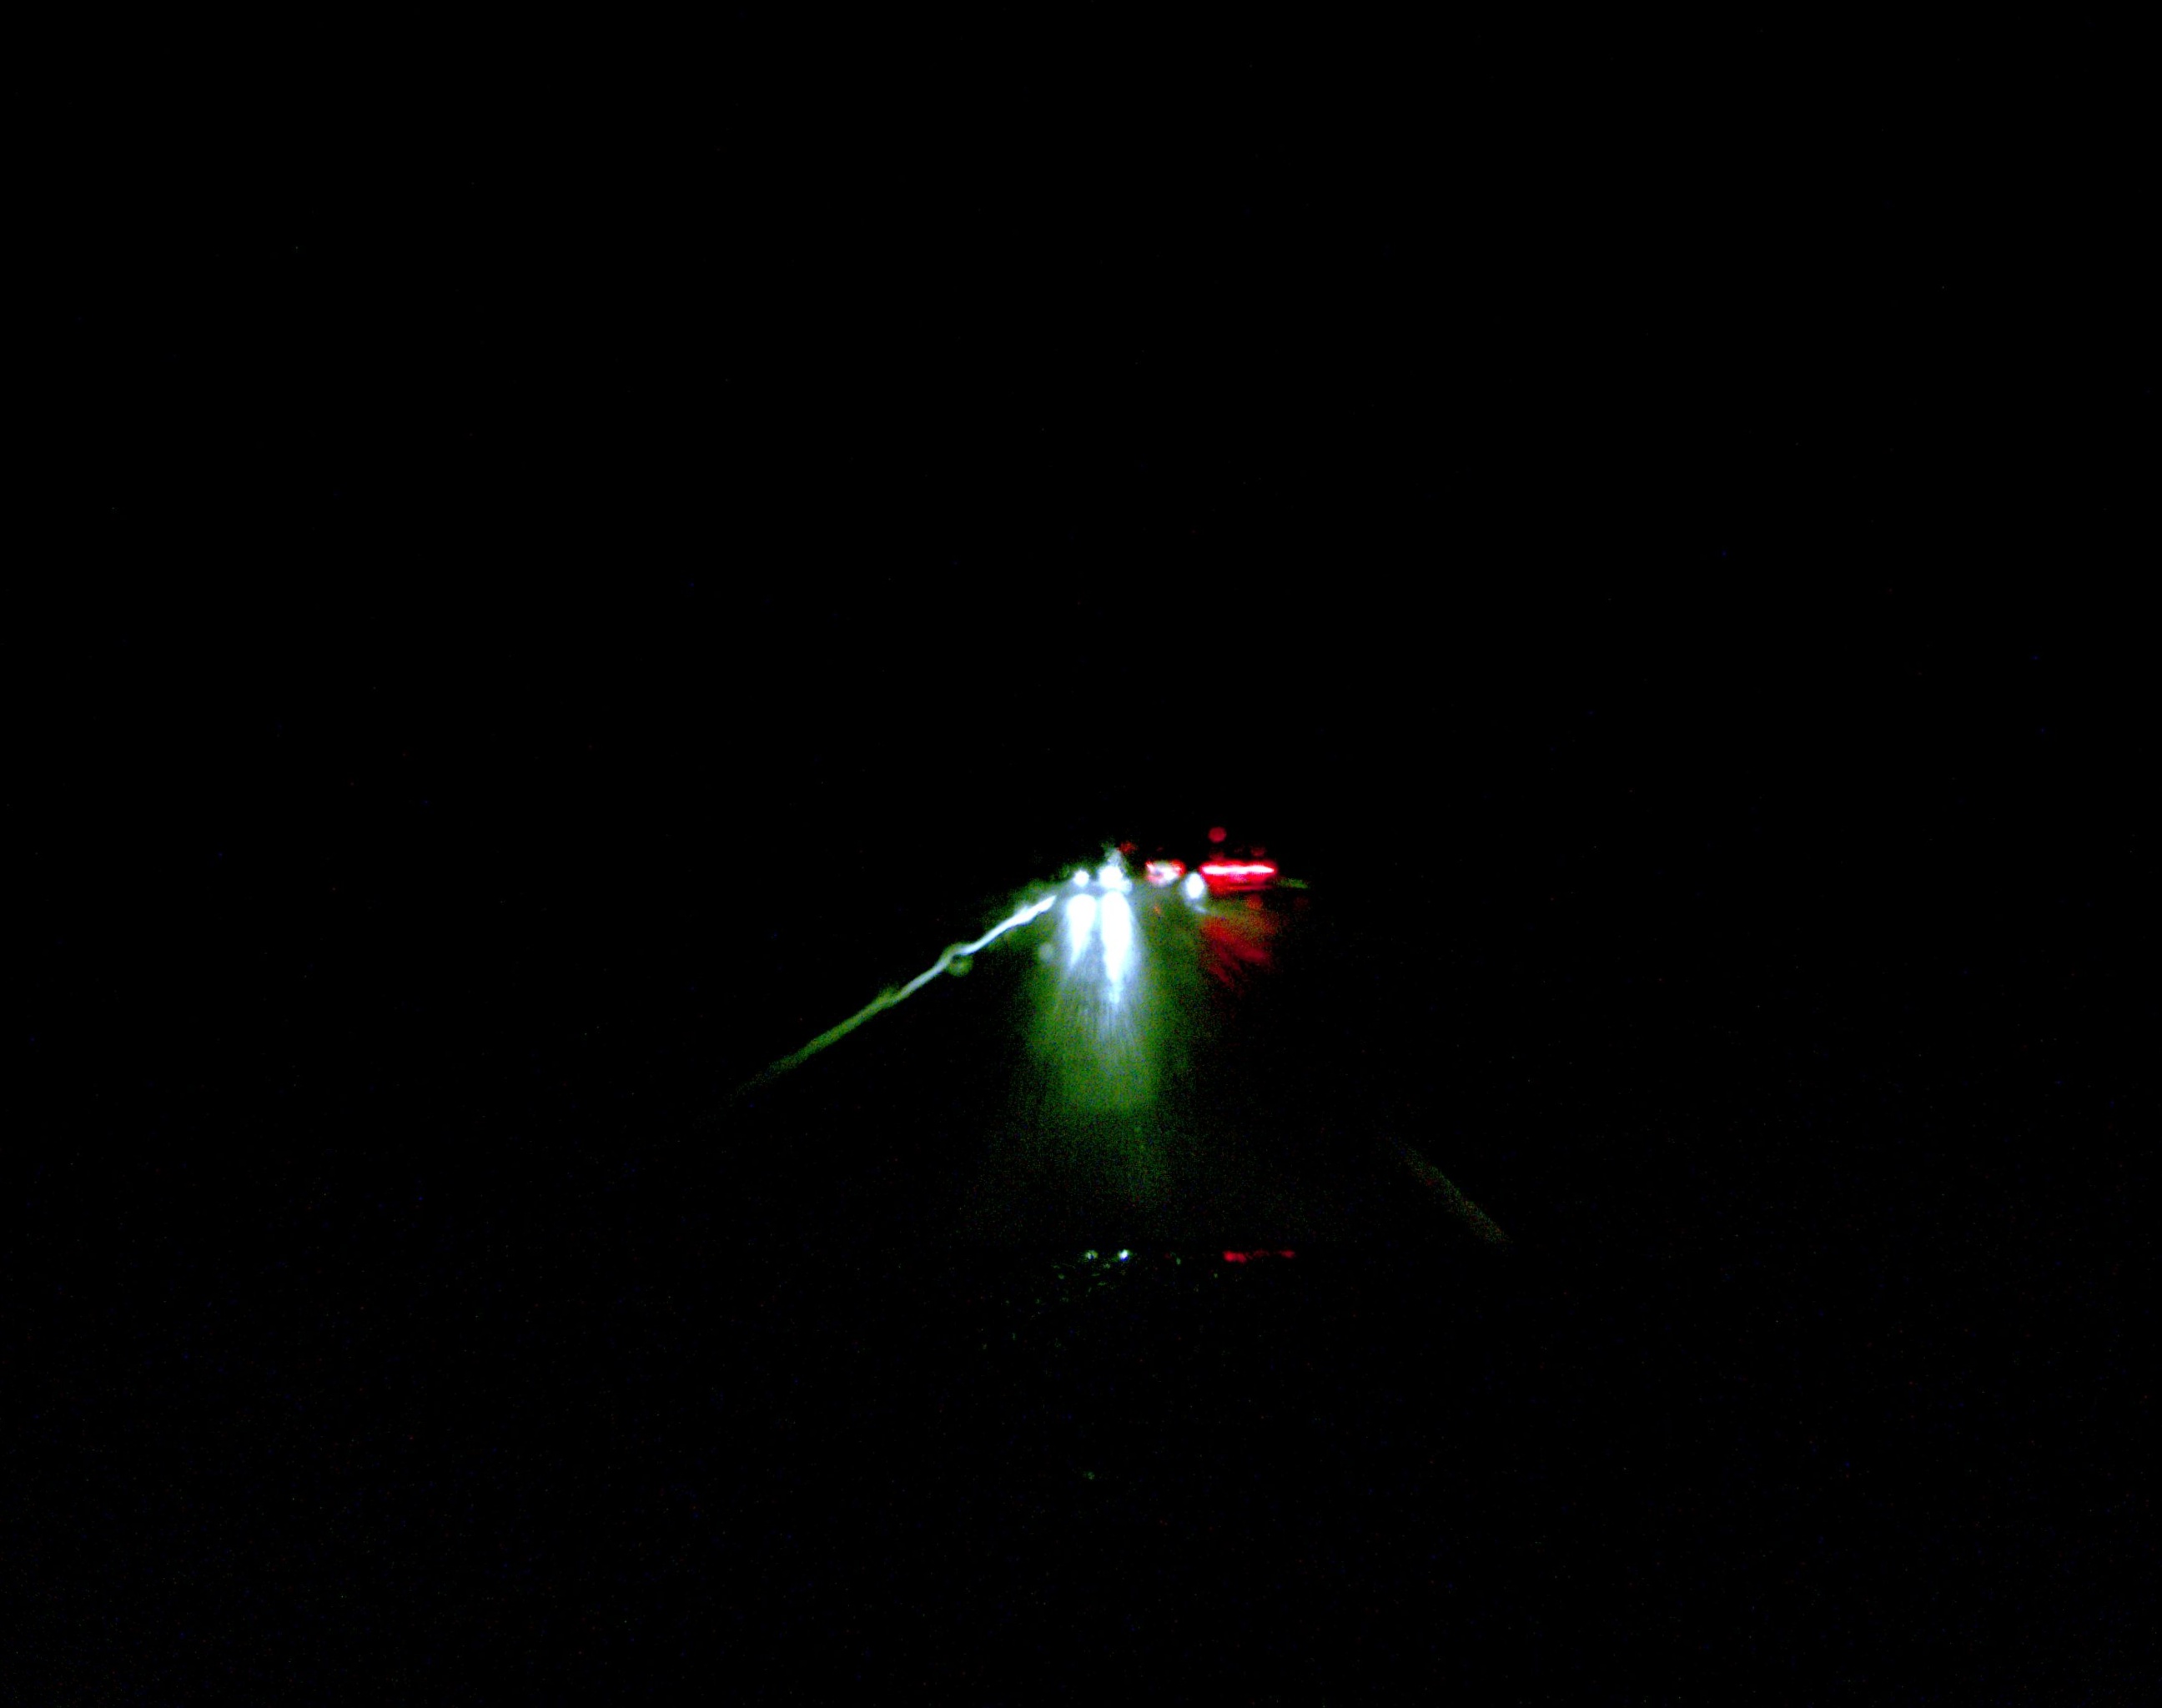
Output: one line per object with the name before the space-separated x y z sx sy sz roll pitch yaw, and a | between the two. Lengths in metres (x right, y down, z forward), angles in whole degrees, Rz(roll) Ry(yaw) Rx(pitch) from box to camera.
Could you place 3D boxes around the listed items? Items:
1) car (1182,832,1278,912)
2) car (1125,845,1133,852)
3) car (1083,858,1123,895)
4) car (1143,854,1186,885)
car | 4.221 0.483 22.272 1.998 2.056 4.346 -2 0 1
car | 11.700 -1.398 184.812 1.744 1.632 3.599 -3 1 0
car | 1.010 1.018 35.859 1.744 1.502 3.599 -3 1 1
car | 4.423 0.776 40.797 1.856 1.480 3.993 -3 0 1
